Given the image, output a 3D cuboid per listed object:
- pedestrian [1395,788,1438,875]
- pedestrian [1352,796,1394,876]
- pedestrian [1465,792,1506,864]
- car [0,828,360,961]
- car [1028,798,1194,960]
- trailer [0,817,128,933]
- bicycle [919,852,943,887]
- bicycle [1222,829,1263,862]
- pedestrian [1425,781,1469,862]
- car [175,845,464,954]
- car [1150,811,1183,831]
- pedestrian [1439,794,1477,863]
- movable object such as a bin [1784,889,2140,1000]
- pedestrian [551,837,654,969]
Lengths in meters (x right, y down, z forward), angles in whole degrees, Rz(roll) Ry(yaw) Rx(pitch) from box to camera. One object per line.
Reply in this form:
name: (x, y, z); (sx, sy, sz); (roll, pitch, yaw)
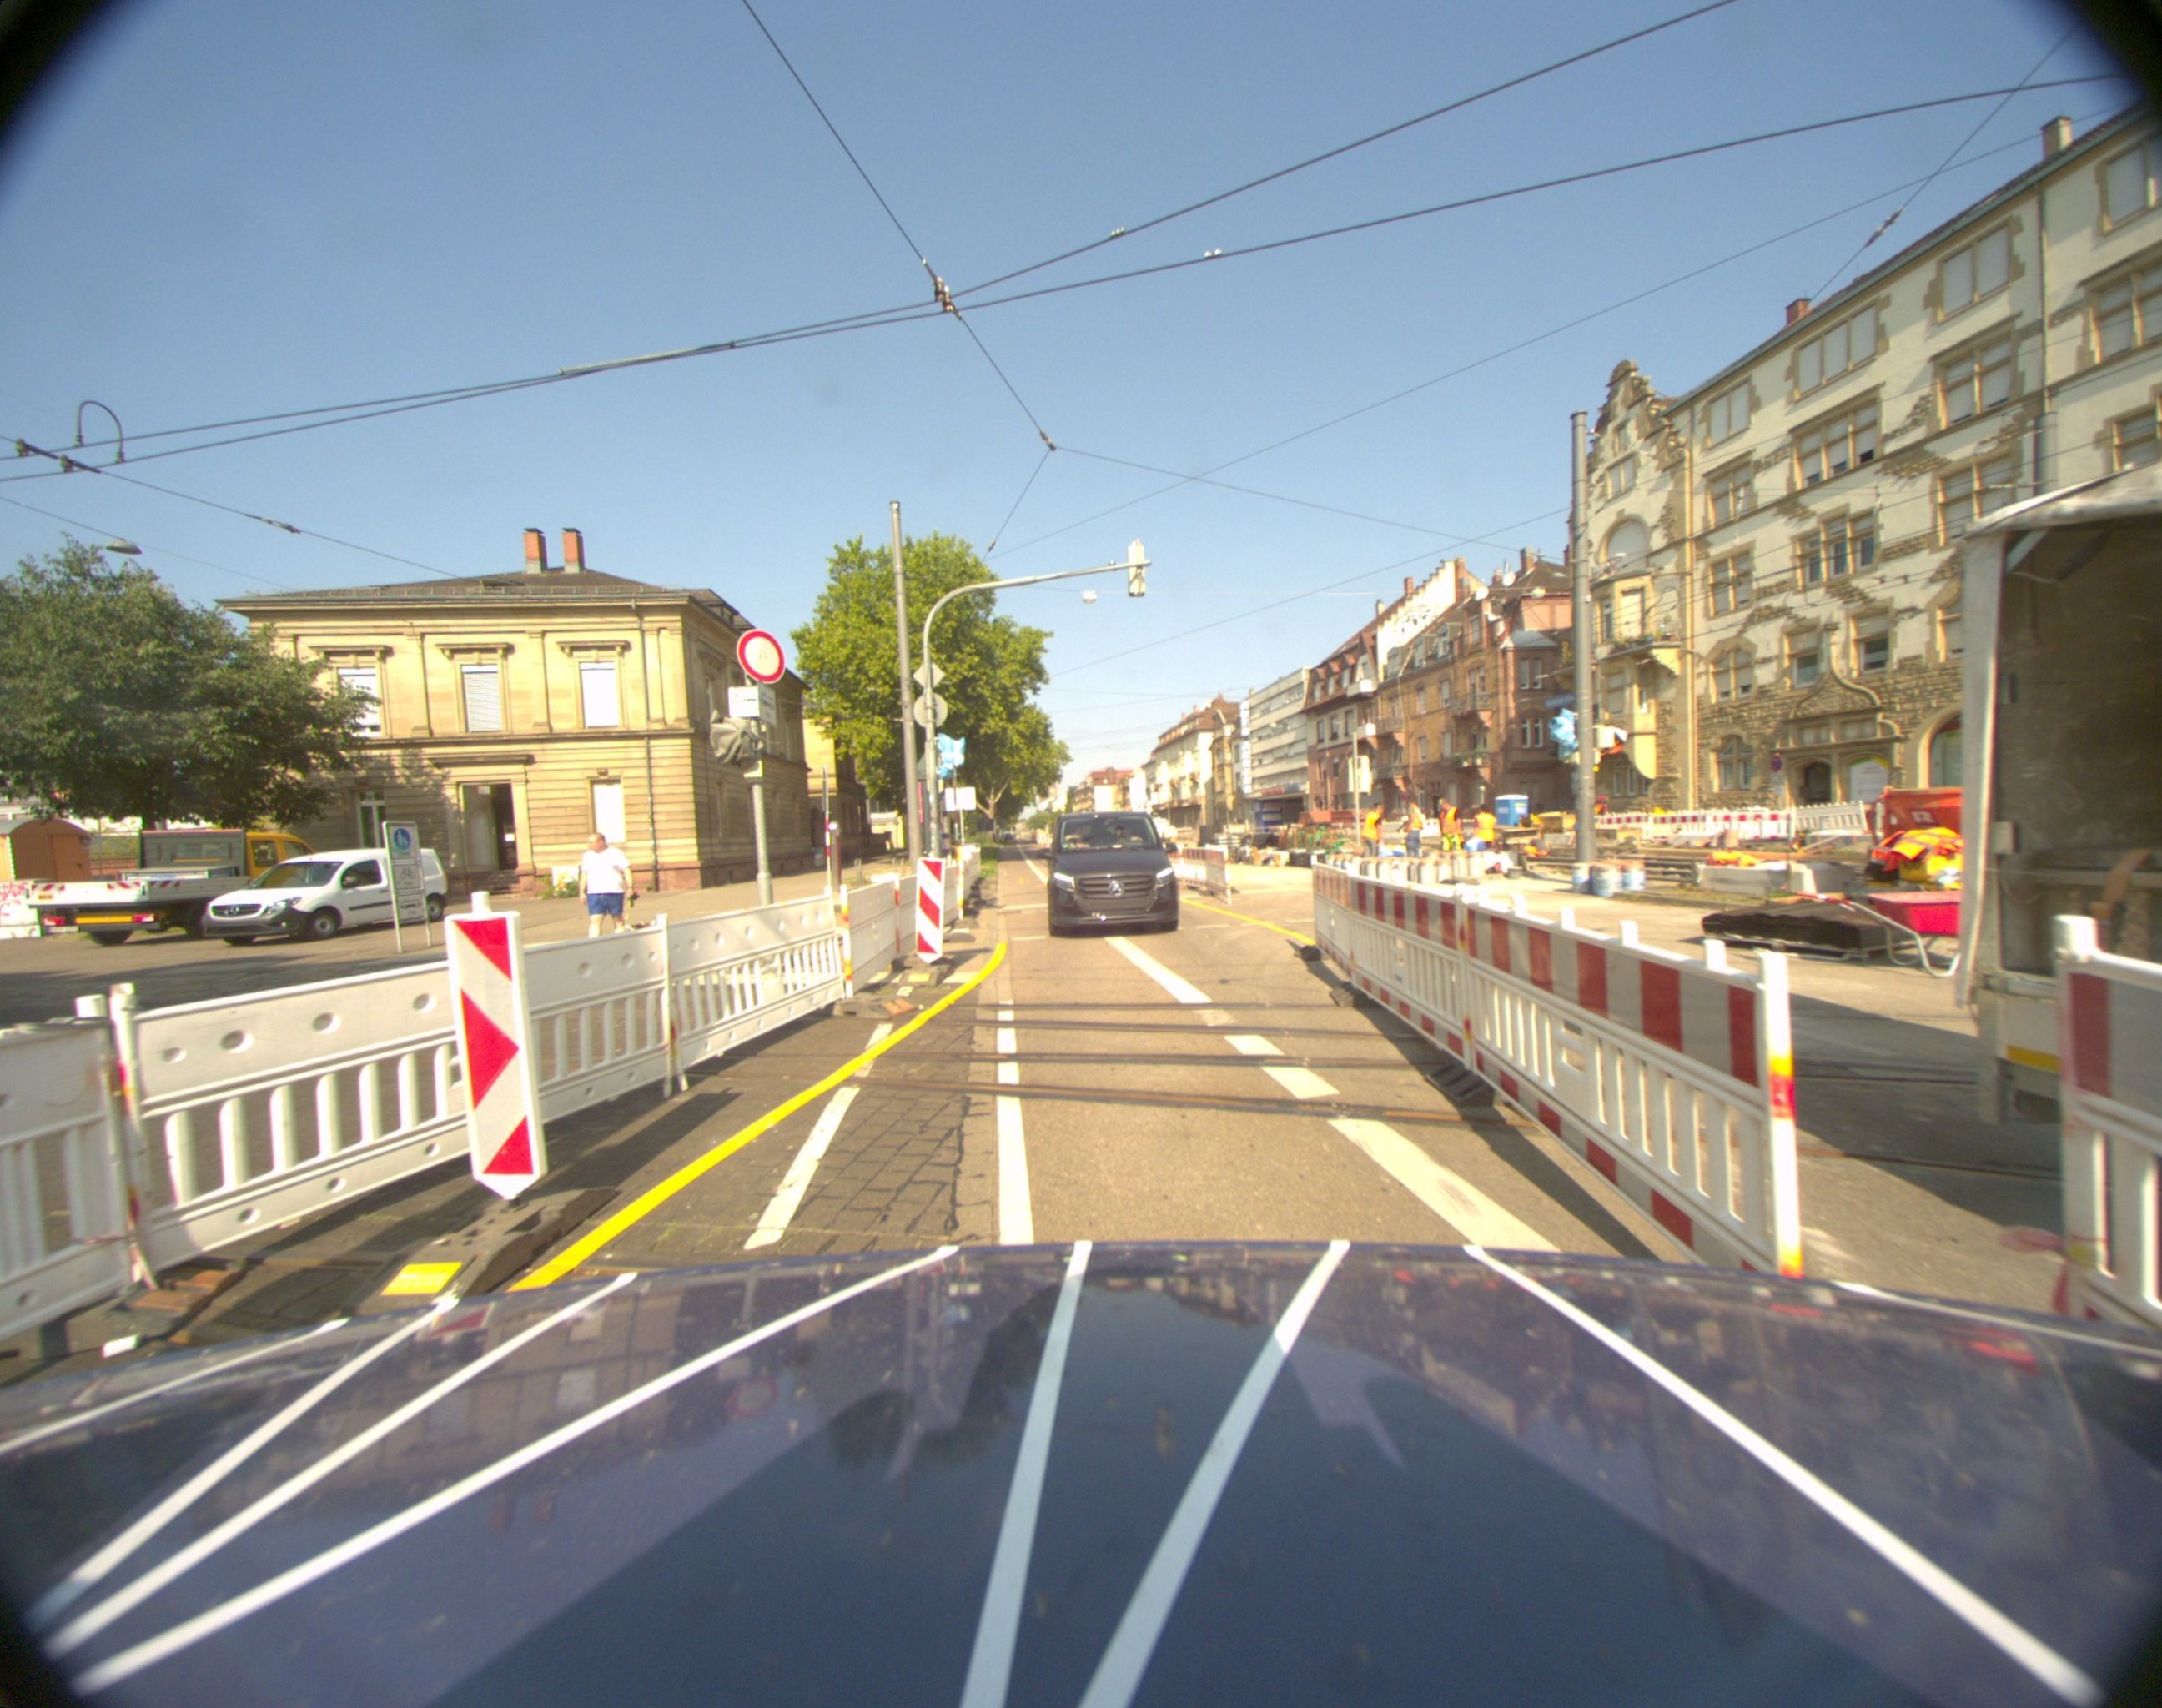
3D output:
pedestrian: (7.975, -0.532, 18.055); (0.698, 2.005, 0.672); (-6, 5, -43)
pedestrian: (7.215, -0.441, 18.770); (0.715, 1.916, 0.683); (-6, 5, -43)
pedestrian: (10.370, -0.668, 19.452); (0.752, 1.800, 0.831); (0, 5, 39)
car: (-20.179, 0.686, 17.571); (2.265, 2.410, 5.481); (-4, 3, -11)
car: (0.246, 0.262, 11.591); (1.854, 1.875, 4.175); (-5, 2, -5)
trailer: (-30.203, 0.579, 20.870); (4.122, 3.032, 2.510); (-3, 4, -12)
bicycle: (-4.857, 0.483, 24.678); (0.540, 1.001, 1.569); (-3, 3, -5)
bicycle: (5.855, -0.319, 27.696); (0.564, 1.093, 1.964); (-6, 4, -15)
pedestrian: (8.765, -0.774, 18.215); (0.721, 1.861, 0.708); (-3, 4, 3)
car: (-15.953, 0.837, 16.341); (1.909, 1.774, 4.221); (-2, 4, -2)
car: (10.263, -4.010, 91.793); (2.368, 2.123, 7.114); (-4, 3, -6)
pedestrian: (10.250, -0.706, 20.689); (0.828, 1.807, 0.885); (-1, 4, 21)
movable object such as a bin: (6.910, 0.677, 6.110); (1.719, 0.710, 0.719); (-1, 4, 27)
pedestrian: (-6.649, 0.655, 10.599); (0.869, 1.728, 0.670); (-4, 4, -7)
